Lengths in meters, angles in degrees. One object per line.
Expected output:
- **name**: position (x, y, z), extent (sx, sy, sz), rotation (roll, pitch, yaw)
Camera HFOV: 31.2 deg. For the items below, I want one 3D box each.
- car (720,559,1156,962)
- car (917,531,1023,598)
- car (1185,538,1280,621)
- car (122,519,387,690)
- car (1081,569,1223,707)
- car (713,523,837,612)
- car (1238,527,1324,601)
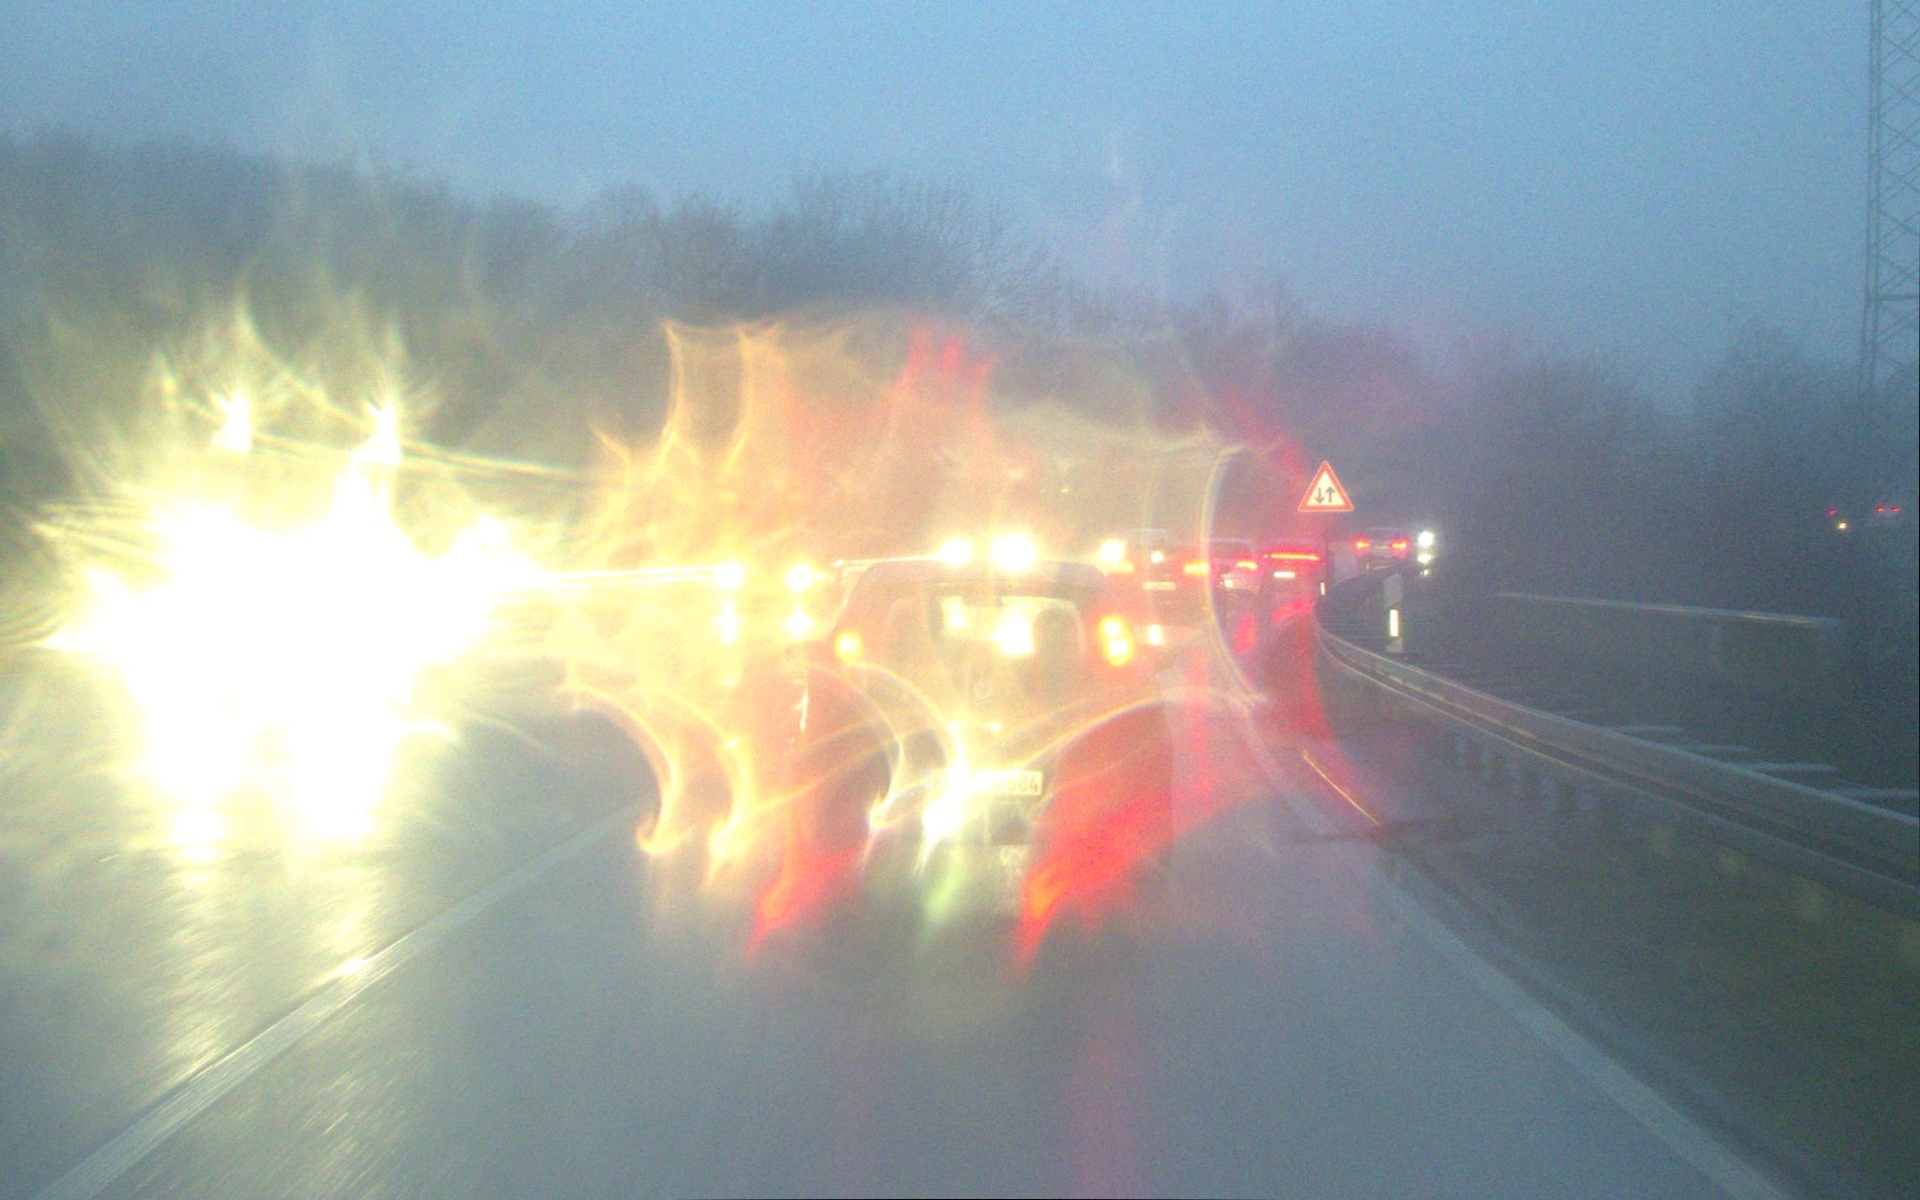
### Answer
- **car**: position (-0.208, 0.639, 16.272), extent (1.730, 1.527, 4.043), rotation (-3, 1, -3)
- **car**: position (0.281, -0.884, 85.842), extent (1.889, 1.584, 4.380), rotation (2, 1, 10)
- **car**: position (5.895, -0.468, 74.755), extent (1.946, 1.739, 4.000), rotation (1, 1, 3)
- **car**: position (-6.316, -0.005, 31.148), extent (1.695, 1.413, 4.001), rotation (1, 1, -2)
- **car**: position (3.034, 0.563, 53.643), extent (1.946, 2.007, 3.999), rotation (-2, 0, 6)
- **car**: position (-3.429, -0.637, 64.494), extent (1.636, 1.467, 4.449), rotation (4, 2, 5)
- **car**: position (8.580, -0.948, 91.702), extent (1.947, 1.739, 3.999), rotation (6, 1, 8)
